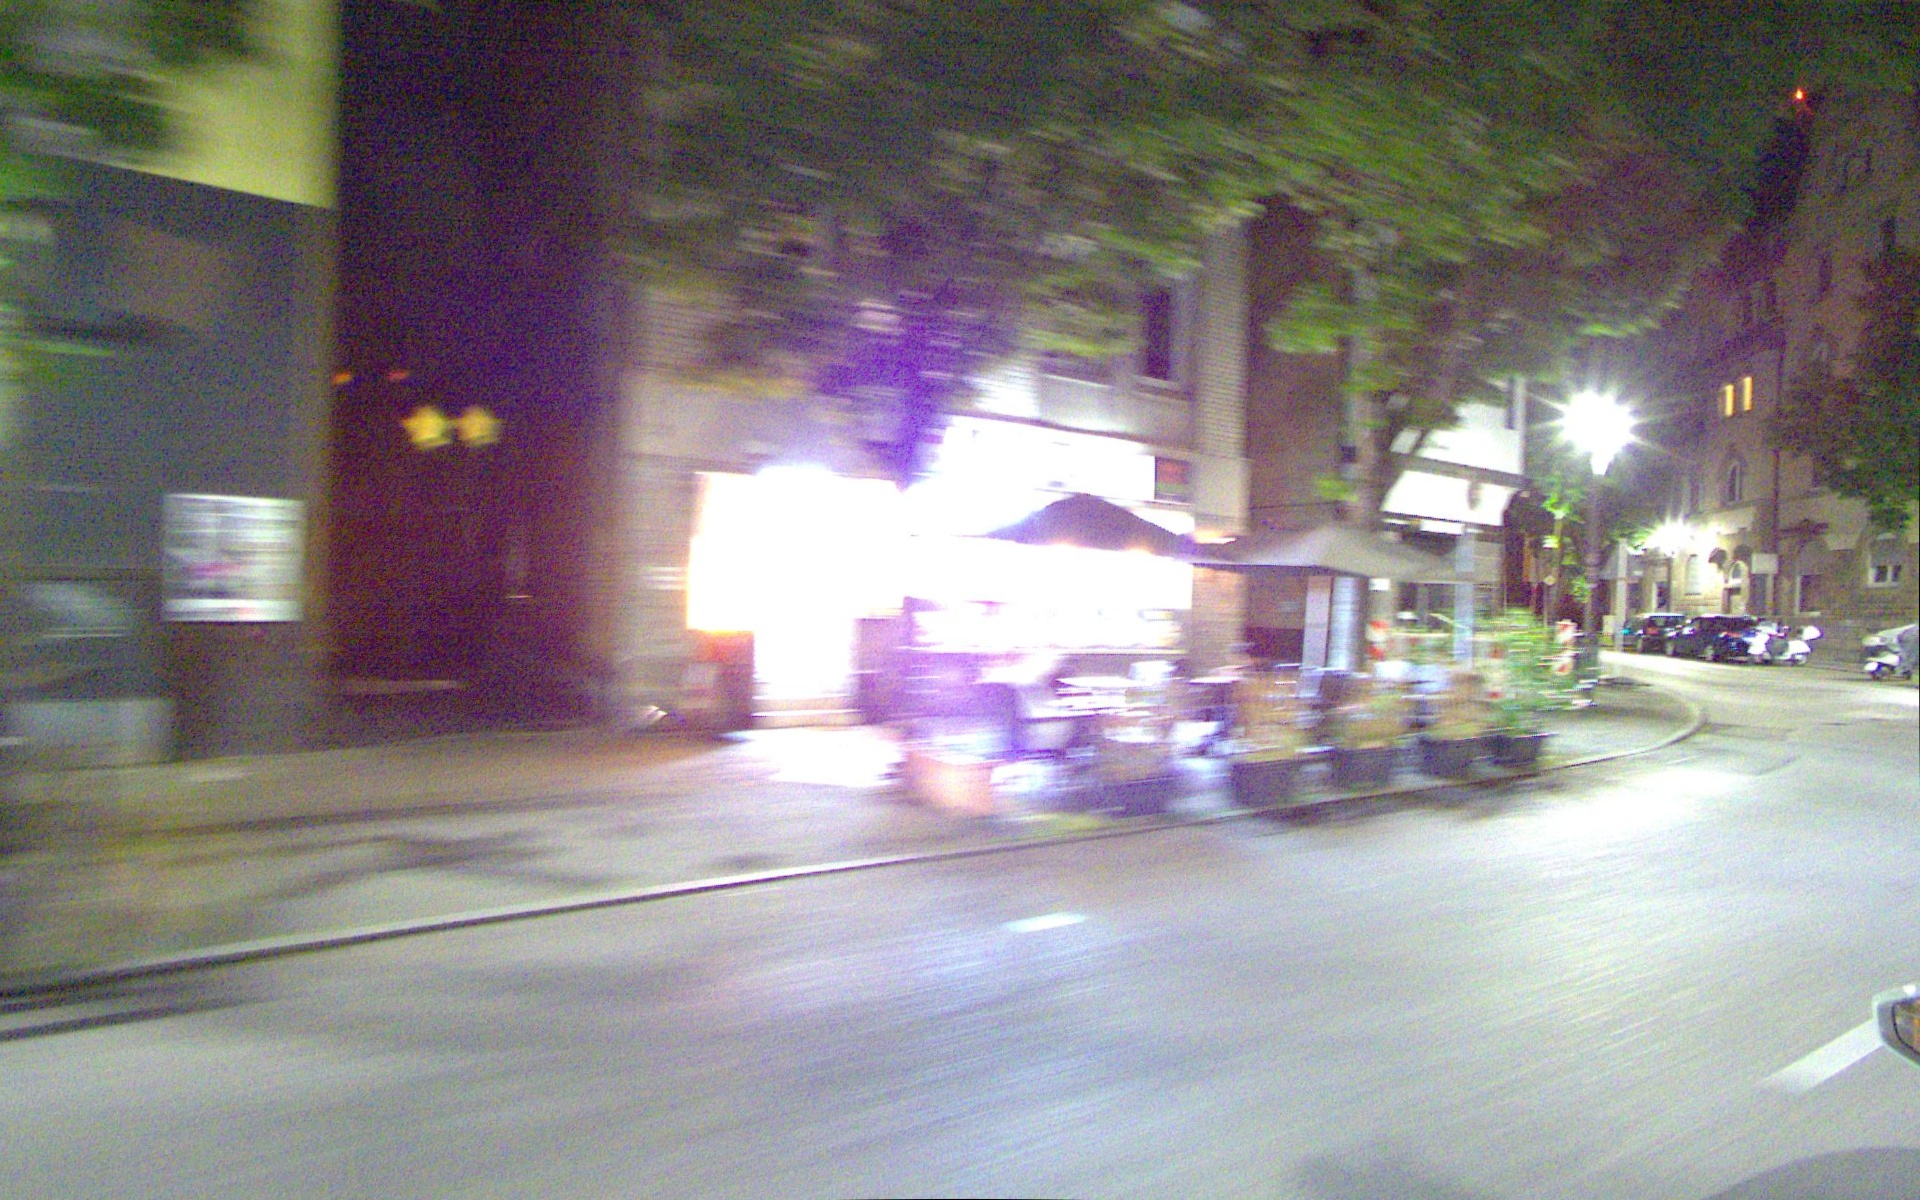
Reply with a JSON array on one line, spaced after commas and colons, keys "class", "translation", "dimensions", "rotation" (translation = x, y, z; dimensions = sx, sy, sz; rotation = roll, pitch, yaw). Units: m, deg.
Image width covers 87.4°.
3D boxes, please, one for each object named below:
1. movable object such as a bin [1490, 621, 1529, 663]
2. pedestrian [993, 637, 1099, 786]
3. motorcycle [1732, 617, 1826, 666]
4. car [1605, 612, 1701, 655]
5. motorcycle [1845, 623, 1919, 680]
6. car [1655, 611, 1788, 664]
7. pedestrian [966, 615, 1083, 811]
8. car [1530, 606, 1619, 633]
[{"class": "movable object such as a bin", "translation": [14.740, 1.131, 26.945], "dimensions": [0.681, 1.063, 0.621], "rotation": [3, 0, -27]}, {"class": "pedestrian", "translation": [0.729, 0.919, 8.559], "dimensions": [0.672, 1.179, 0.570], "rotation": [1, 0, -37]}, {"class": "motorcycle", "translation": [24.587, 1.222, 30.192], "dimensions": [2.018, 1.425, 0.925], "rotation": [0, 1, 4]}, {"class": "car", "translation": [26.114, 1.228, 38.026], "dimensions": [1.707, 1.473, 4.002], "rotation": [1, 0, 15]}, {"class": "motorcycle", "translation": [23.160, 1.271, 25.134], "dimensions": [1.916, 1.371, 0.759], "rotation": [1, 1, -23]}, {"class": "car", "translation": [24.872, 1.173, 33.030], "dimensions": [1.702, 1.521, 4.470], "rotation": [1, 0, 12]}, {"class": "pedestrian", "translation": [0.488, 0.824, 7.684], "dimensions": [0.571, 1.396, 0.671], "rotation": [1, 0, -37]}, {"class": "car", "translation": [35.518, 1.151, 58.129], "dimensions": [3.945, 1.441, 1.853], "rotation": [1, -1, 11]}]
